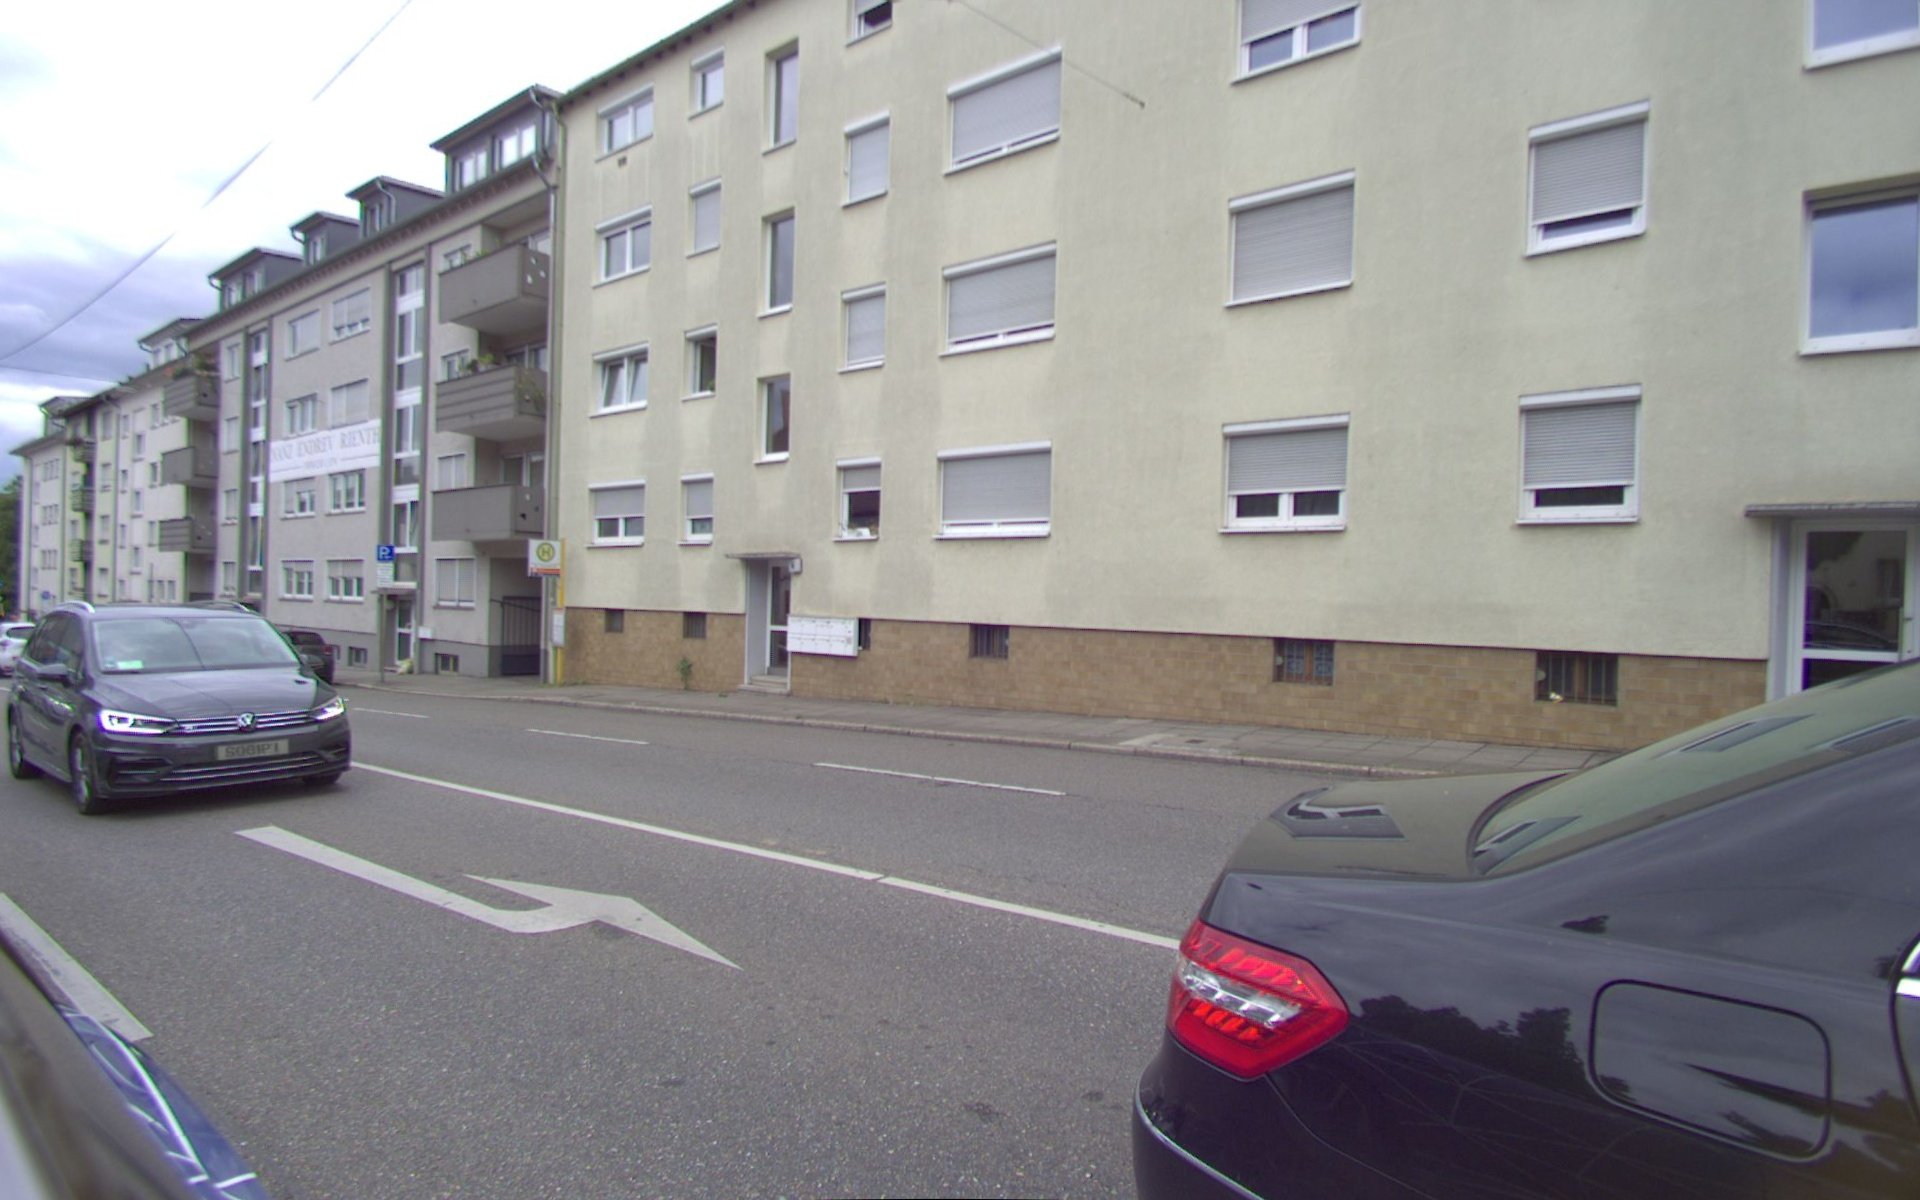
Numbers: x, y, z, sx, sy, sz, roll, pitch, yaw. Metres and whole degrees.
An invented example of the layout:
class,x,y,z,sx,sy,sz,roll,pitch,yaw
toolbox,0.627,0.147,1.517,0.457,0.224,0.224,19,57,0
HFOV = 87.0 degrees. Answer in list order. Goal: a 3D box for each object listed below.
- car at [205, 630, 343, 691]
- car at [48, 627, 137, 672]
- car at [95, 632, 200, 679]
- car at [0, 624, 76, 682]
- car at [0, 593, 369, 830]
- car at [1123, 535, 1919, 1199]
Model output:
class,x,y,z,sx,sy,sz,roll,pitch,yaw
car,-17.591,1.511,25.915,3.680,1.422,1.755,-1,-3,36
car,-33.144,1.875,38.641,3.533,1.613,1.755,-1,-3,36
car,-26.243,1.757,32.665,3.533,1.414,1.755,-1,-3,36
car,-26.683,1.446,28.659,4.078,1.533,1.753,-1,-2,39
car,-7.214,0.781,9.053,4.474,1.623,1.840,-1,0,38
car,2.709,0.649,0.700,4.840,1.440,1.973,-1,-2,41
